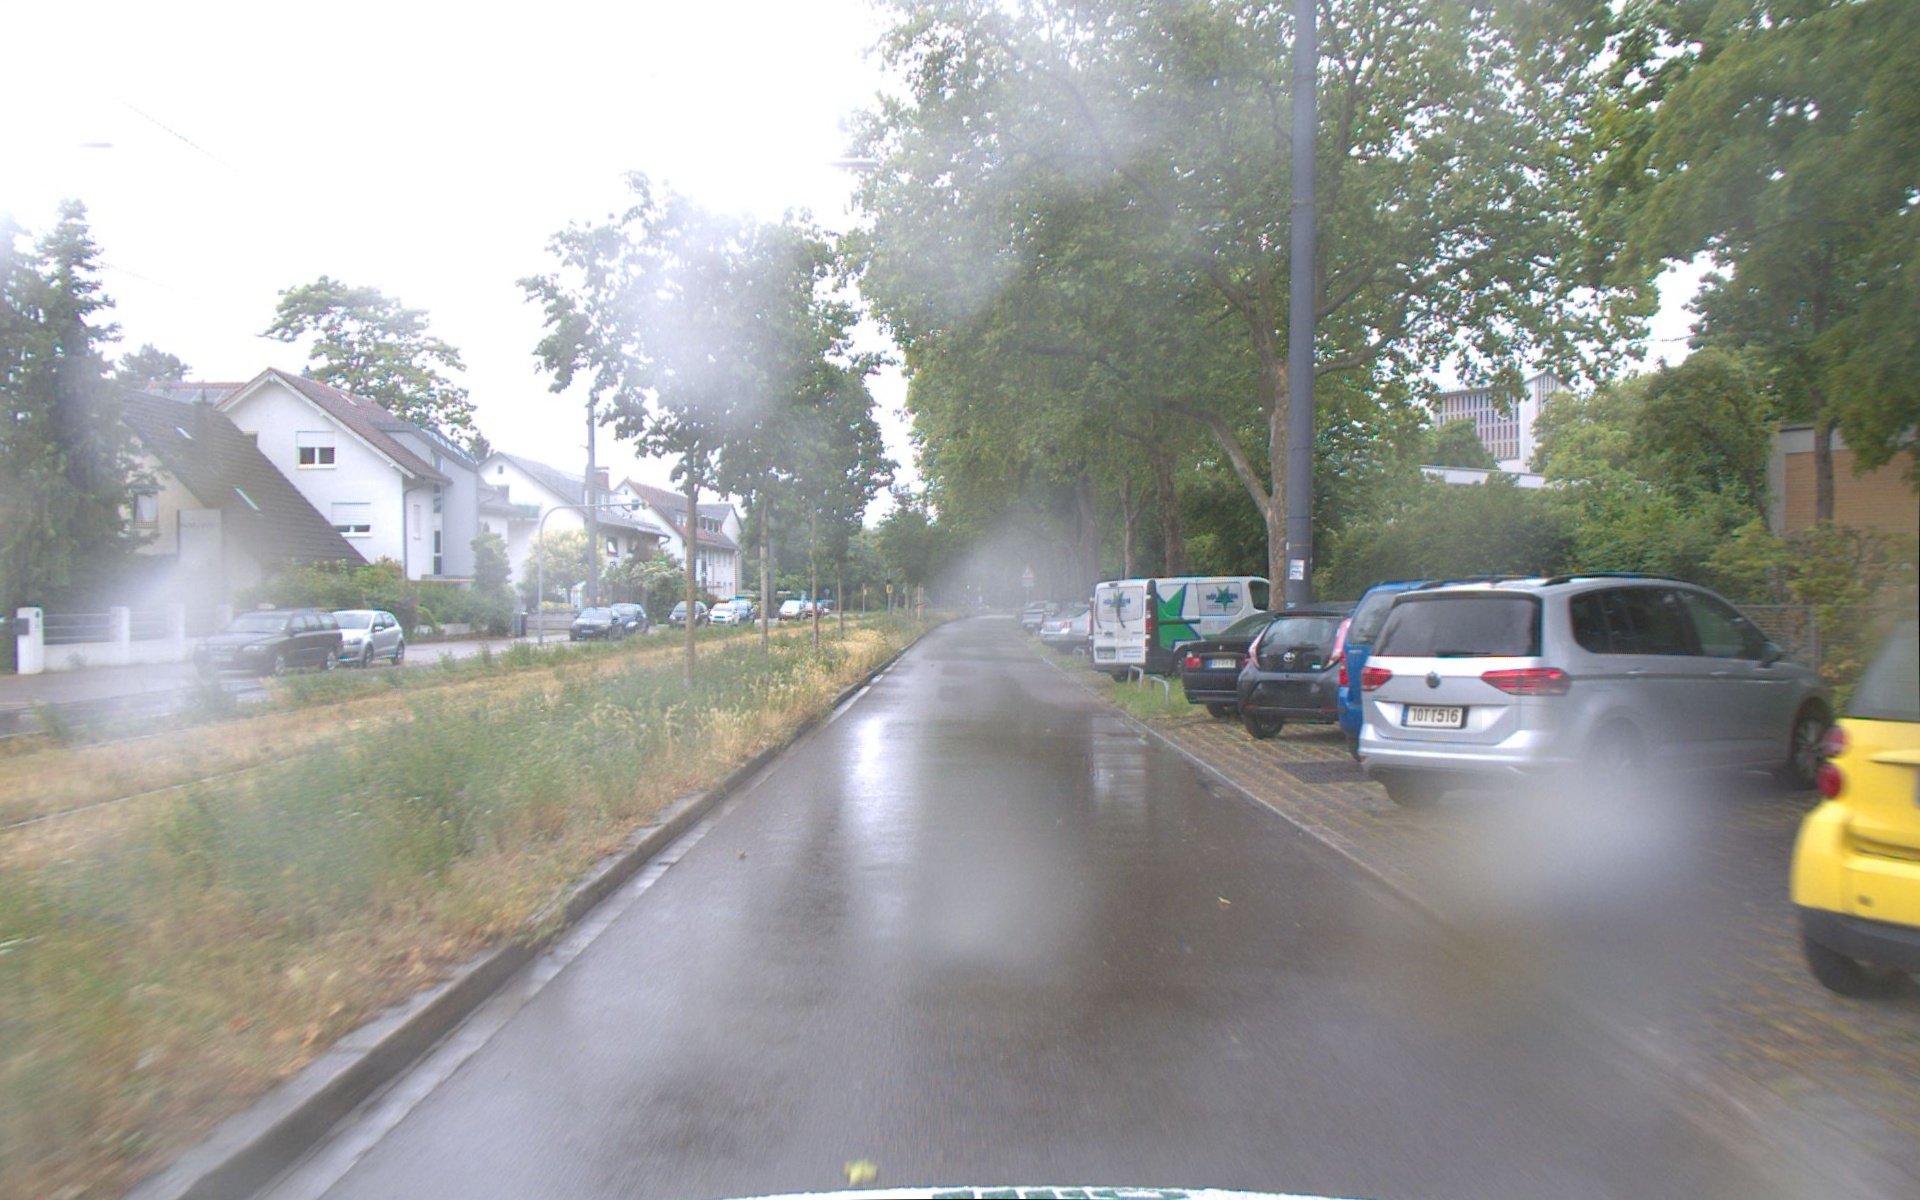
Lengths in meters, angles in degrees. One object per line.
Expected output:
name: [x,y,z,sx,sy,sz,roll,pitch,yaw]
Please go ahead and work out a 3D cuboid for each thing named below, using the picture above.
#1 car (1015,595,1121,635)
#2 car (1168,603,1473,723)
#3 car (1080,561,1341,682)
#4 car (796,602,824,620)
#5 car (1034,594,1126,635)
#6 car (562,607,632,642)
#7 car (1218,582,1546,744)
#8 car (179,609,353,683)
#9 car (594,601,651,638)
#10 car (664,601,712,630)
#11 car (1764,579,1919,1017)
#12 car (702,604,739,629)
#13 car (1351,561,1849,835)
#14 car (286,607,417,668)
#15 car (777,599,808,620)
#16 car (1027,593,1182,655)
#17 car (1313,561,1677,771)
car: [4.967,0.676,75.787,4.723,1.697,1.969,-1,0,-37]
car: [4.815,0.754,21.771,4.265,1.408,1.716,0,0,-40]
car: [4.867,0.355,31.771,4.973,2.048,1.975,-3,1,-35]
car: [-13.632,0.977,150.499,1.952,1.514,4.206,1,0,2]
car: [5.106,0.600,70.174,3.667,1.593,1.601,-1,0,-33]
car: [-15.775,1.037,72.031,1.952,1.374,4.241,1,0,2]
car: [4.729,0.650,18.418,3.370,1.545,1.825,-2,0,-38]
car: [-15.801,0.998,37.927,1.952,1.481,4.532,1,0,2]
car: [-15.661,0.897,76.941,1.835,1.577,3.870,1,0,0]
car: [-15.502,0.855,94.439,1.952,1.543,4.206,1,0,2]
car: [4.634,0.627,6.148,2.864,1.492,1.588,-2,0,-29]
car: [-15.327,1.031,106.043,1.759,1.514,3.598,1,0,2]
car: [4.810,0.584,12.194,4.007,1.669,1.632,-2,0,-39]
car: [-15.941,0.942,43.541,1.953,1.435,3.971,1,0,0]
car: [-13.797,0.797,136.823,1.952,1.608,4.518,1,0,2]
car: [4.460,0.706,50.762,4.503,1.571,1.867,-4,2,-32]
car: [5.051,0.558,15.525,3.237,1.700,1.574,-2,0,-35]
